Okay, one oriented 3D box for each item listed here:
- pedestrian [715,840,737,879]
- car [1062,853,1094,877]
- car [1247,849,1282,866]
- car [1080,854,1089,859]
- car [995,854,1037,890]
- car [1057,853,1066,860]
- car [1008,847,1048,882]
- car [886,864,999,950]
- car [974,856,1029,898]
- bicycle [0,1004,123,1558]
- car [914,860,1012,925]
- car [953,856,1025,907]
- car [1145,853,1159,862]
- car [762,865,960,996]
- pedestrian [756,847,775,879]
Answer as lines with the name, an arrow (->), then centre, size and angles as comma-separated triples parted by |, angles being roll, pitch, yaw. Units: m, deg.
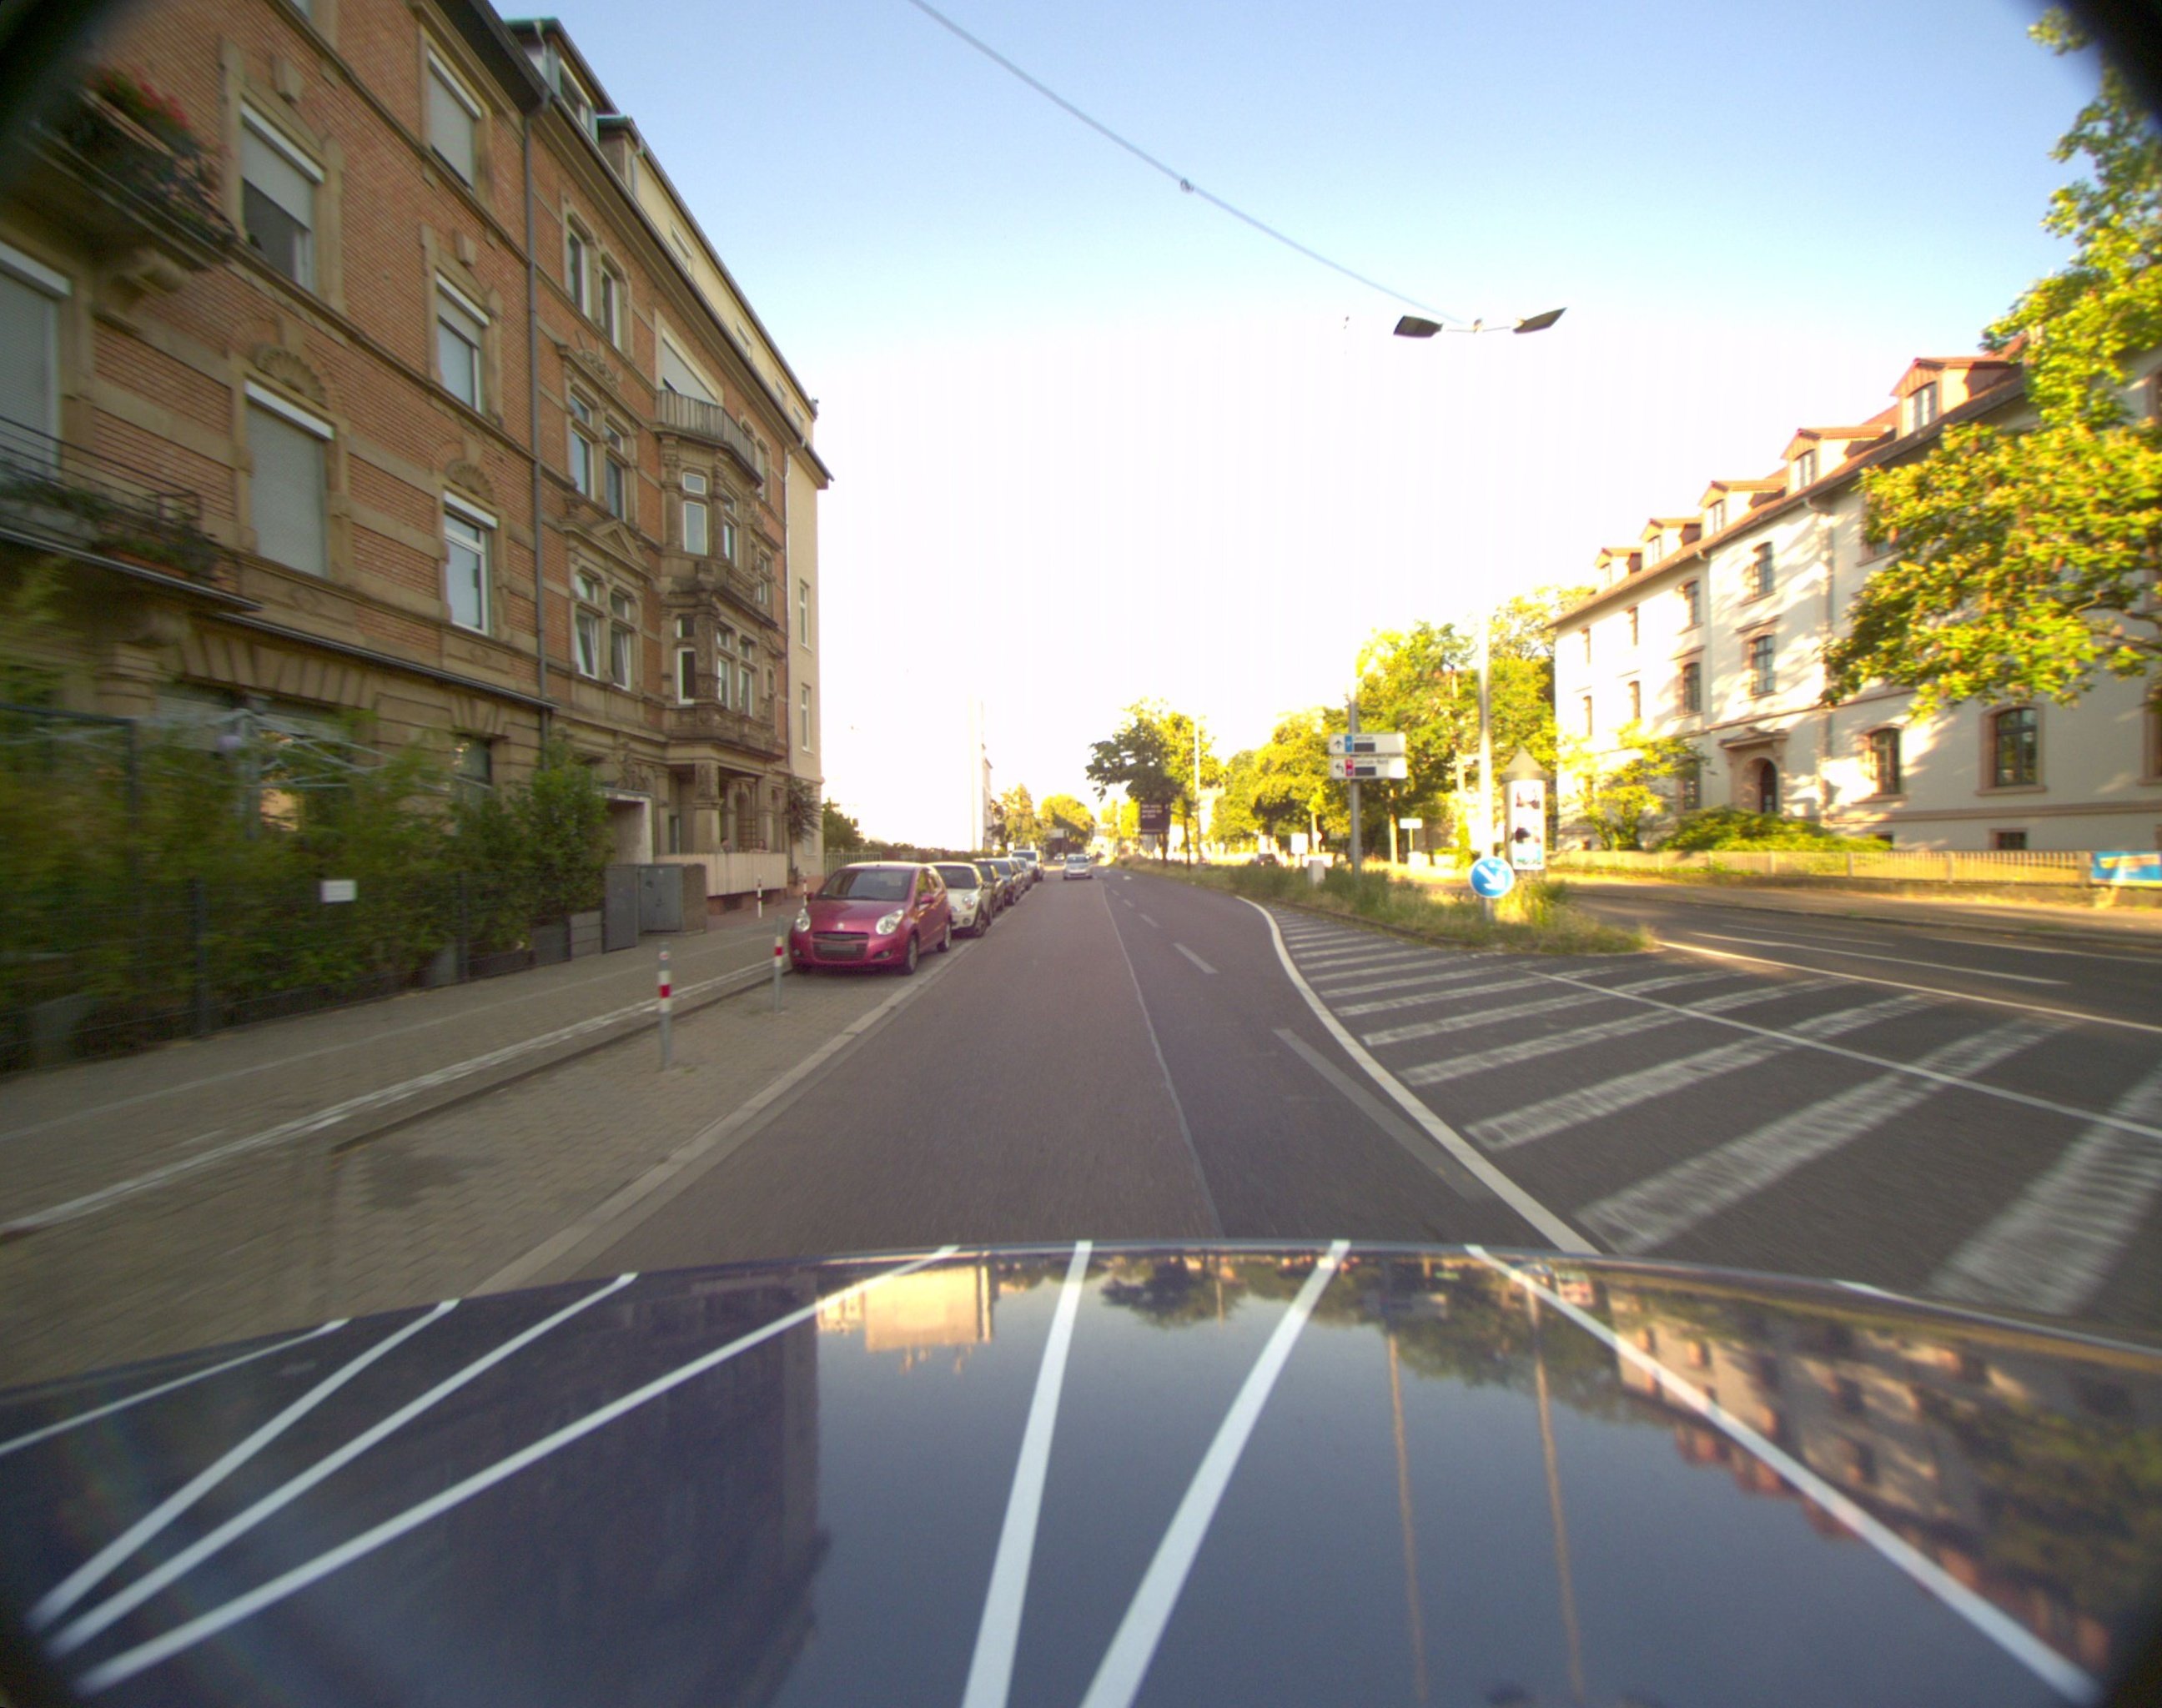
pedestrian -> -9.590, 0.146, 20.500 | 0.402, 1.023, 0.320 | -2, 1, 33
car -> -0.214, 0.668, 47.297 | 1.895, 1.455, 3.965 | 0, 0, -1
car -> 14.770, 0.264, 61.253 | 1.778, 1.266, 4.007 | 2, 0, 0
car -> 0.797, 0.595, 173.982 | 1.948, 1.259, 4.162 | 0, 0, -2
car -> -2.934, 0.769, 34.923 | 1.705, 1.479, 3.891 | 2, 0, -2
car -> -4.524, 0.499, 175.792 | 1.948, 1.514, 4.162 | 0, 0, -2
car -> -3.163, 0.575, 46.073 | 1.892, 1.907, 5.179 | 2, 0, 1
car -> -2.693, 0.981, 15.538 | 1.681, 1.418, 3.675 | 2, 1, -2
car -> -3.073, 0.851, 29.967 | 1.751, 1.418, 3.839 | 2, 0, -1
bicycle -> -2.881, 1.084, 0.925 | 0.567, 1.292, 2.264 | 3, 2, 0
car -> -3.027, 0.939, 20.377 | 1.892, 1.418, 4.341 | 2, 0, 0
car -> -2.986, 0.854, 25.505 | 1.892, 1.439, 4.463 | 2, 0, -1
car -> 11.495, 0.592, 123.642 | 1.778, 1.409, 4.007 | 2, 0, 0
car -> -2.983, 0.964, 11.076 | 1.730, 1.456, 3.546 | 2, 1, 1
pedestrian -> -8.823, 0.240, 21.224 | 0.309, 0.865, 0.320 | -2, 1, 33
